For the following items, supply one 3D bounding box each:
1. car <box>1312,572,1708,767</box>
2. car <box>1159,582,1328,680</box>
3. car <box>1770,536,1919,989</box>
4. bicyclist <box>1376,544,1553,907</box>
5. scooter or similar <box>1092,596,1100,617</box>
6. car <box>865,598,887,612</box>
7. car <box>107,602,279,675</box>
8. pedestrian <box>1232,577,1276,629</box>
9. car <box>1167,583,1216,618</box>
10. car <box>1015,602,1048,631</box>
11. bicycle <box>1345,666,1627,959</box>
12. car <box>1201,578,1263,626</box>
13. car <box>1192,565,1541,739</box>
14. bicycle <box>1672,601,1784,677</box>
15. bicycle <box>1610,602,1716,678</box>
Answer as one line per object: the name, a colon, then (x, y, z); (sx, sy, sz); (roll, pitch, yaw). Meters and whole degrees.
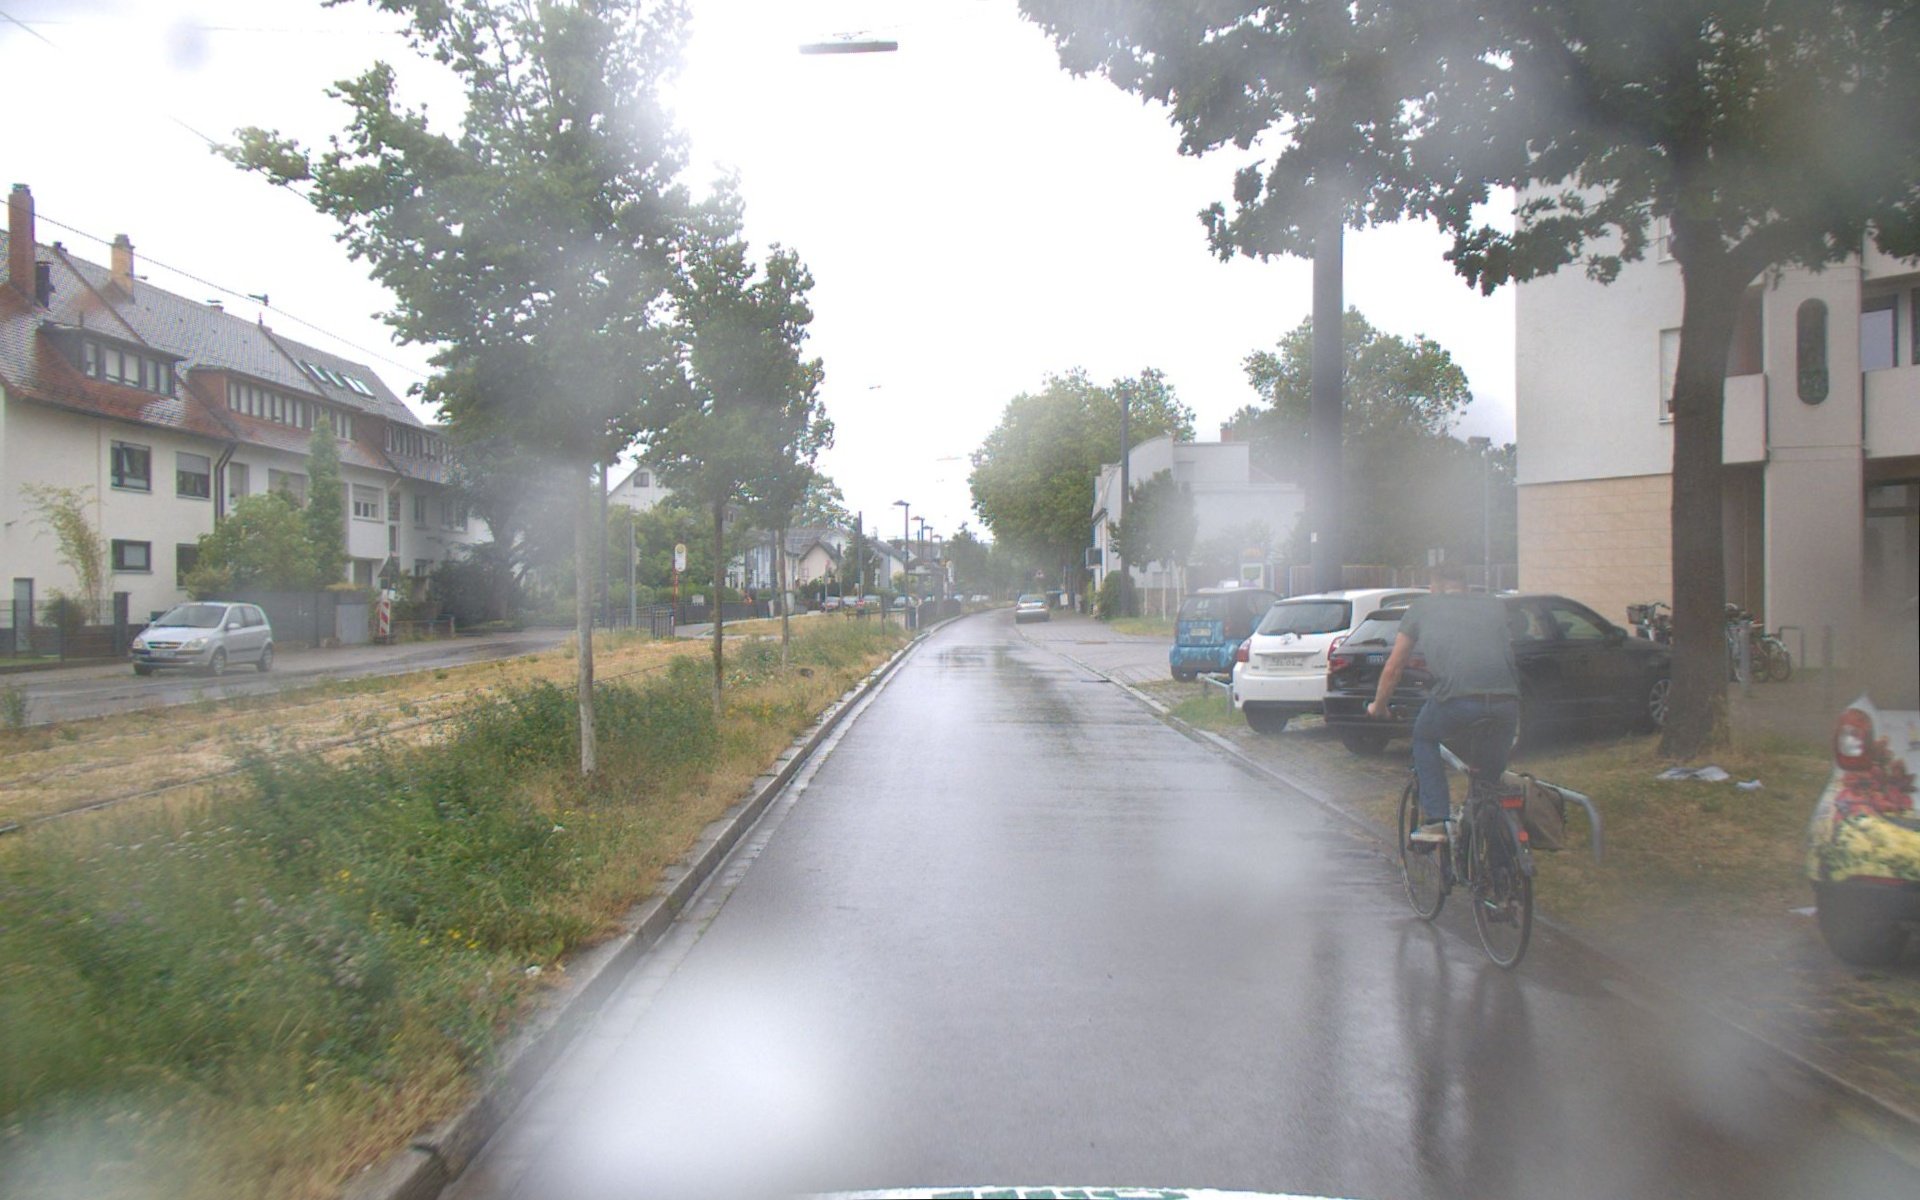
car: (5.319, 0.575, 15.802); (3.904, 1.456, 1.662); (-4, 2, -38)
car: (4.844, 0.502, 28.167); (2.541, 1.575, 1.580); (-1, 0, -40)
car: (5.440, 0.509, 7.297); (4.143, 1.700, 1.662); (-4, 2, -38)
bicyclist: (2.317, 0.555, 7.656); (0.524, 1.587, 0.771); (0, -1, -6)
scooter or similar: (7.151, 0.358, 87.038); (0.326, 1.104, 1.396); (0, -1, 7)
car: (-9.186, 0.555, 181.860); (1.887, 1.512, 4.002); (0, -1, 5)
car: (-15.952, 0.791, 34.612); (1.953, 1.438, 3.657); (0, -1, -2)
pedestrian: (8.863, 0.090, 49.863); (0.826, 1.544, 1.084); (1, -1, -29)
car: (10.908, 0.006, 78.157); (1.922, 1.561, 4.366); (0, 1, 3)
car: (3.848, 0.888, 88.957); (1.616, 1.430, 4.650); (-4, -1, 2)
bicycle: (2.339, 0.888, 7.605); (0.526, 1.112, 1.946); (0, -1, -5)
car: (10.802, 0.048, 65.956); (1.922, 1.815, 4.899); (0, 1, 3)
car: (4.691, 0.513, 18.788); (4.148, 1.574, 1.739); (-4, 2, -40)
bicycle: (10.856, 0.540, 23.445); (0.648, 1.023, 2.058); (0, -1, 0)
bicycle: (9.927, 0.550, 23.436); (0.648, 1.023, 2.058); (0, -1, 0)
